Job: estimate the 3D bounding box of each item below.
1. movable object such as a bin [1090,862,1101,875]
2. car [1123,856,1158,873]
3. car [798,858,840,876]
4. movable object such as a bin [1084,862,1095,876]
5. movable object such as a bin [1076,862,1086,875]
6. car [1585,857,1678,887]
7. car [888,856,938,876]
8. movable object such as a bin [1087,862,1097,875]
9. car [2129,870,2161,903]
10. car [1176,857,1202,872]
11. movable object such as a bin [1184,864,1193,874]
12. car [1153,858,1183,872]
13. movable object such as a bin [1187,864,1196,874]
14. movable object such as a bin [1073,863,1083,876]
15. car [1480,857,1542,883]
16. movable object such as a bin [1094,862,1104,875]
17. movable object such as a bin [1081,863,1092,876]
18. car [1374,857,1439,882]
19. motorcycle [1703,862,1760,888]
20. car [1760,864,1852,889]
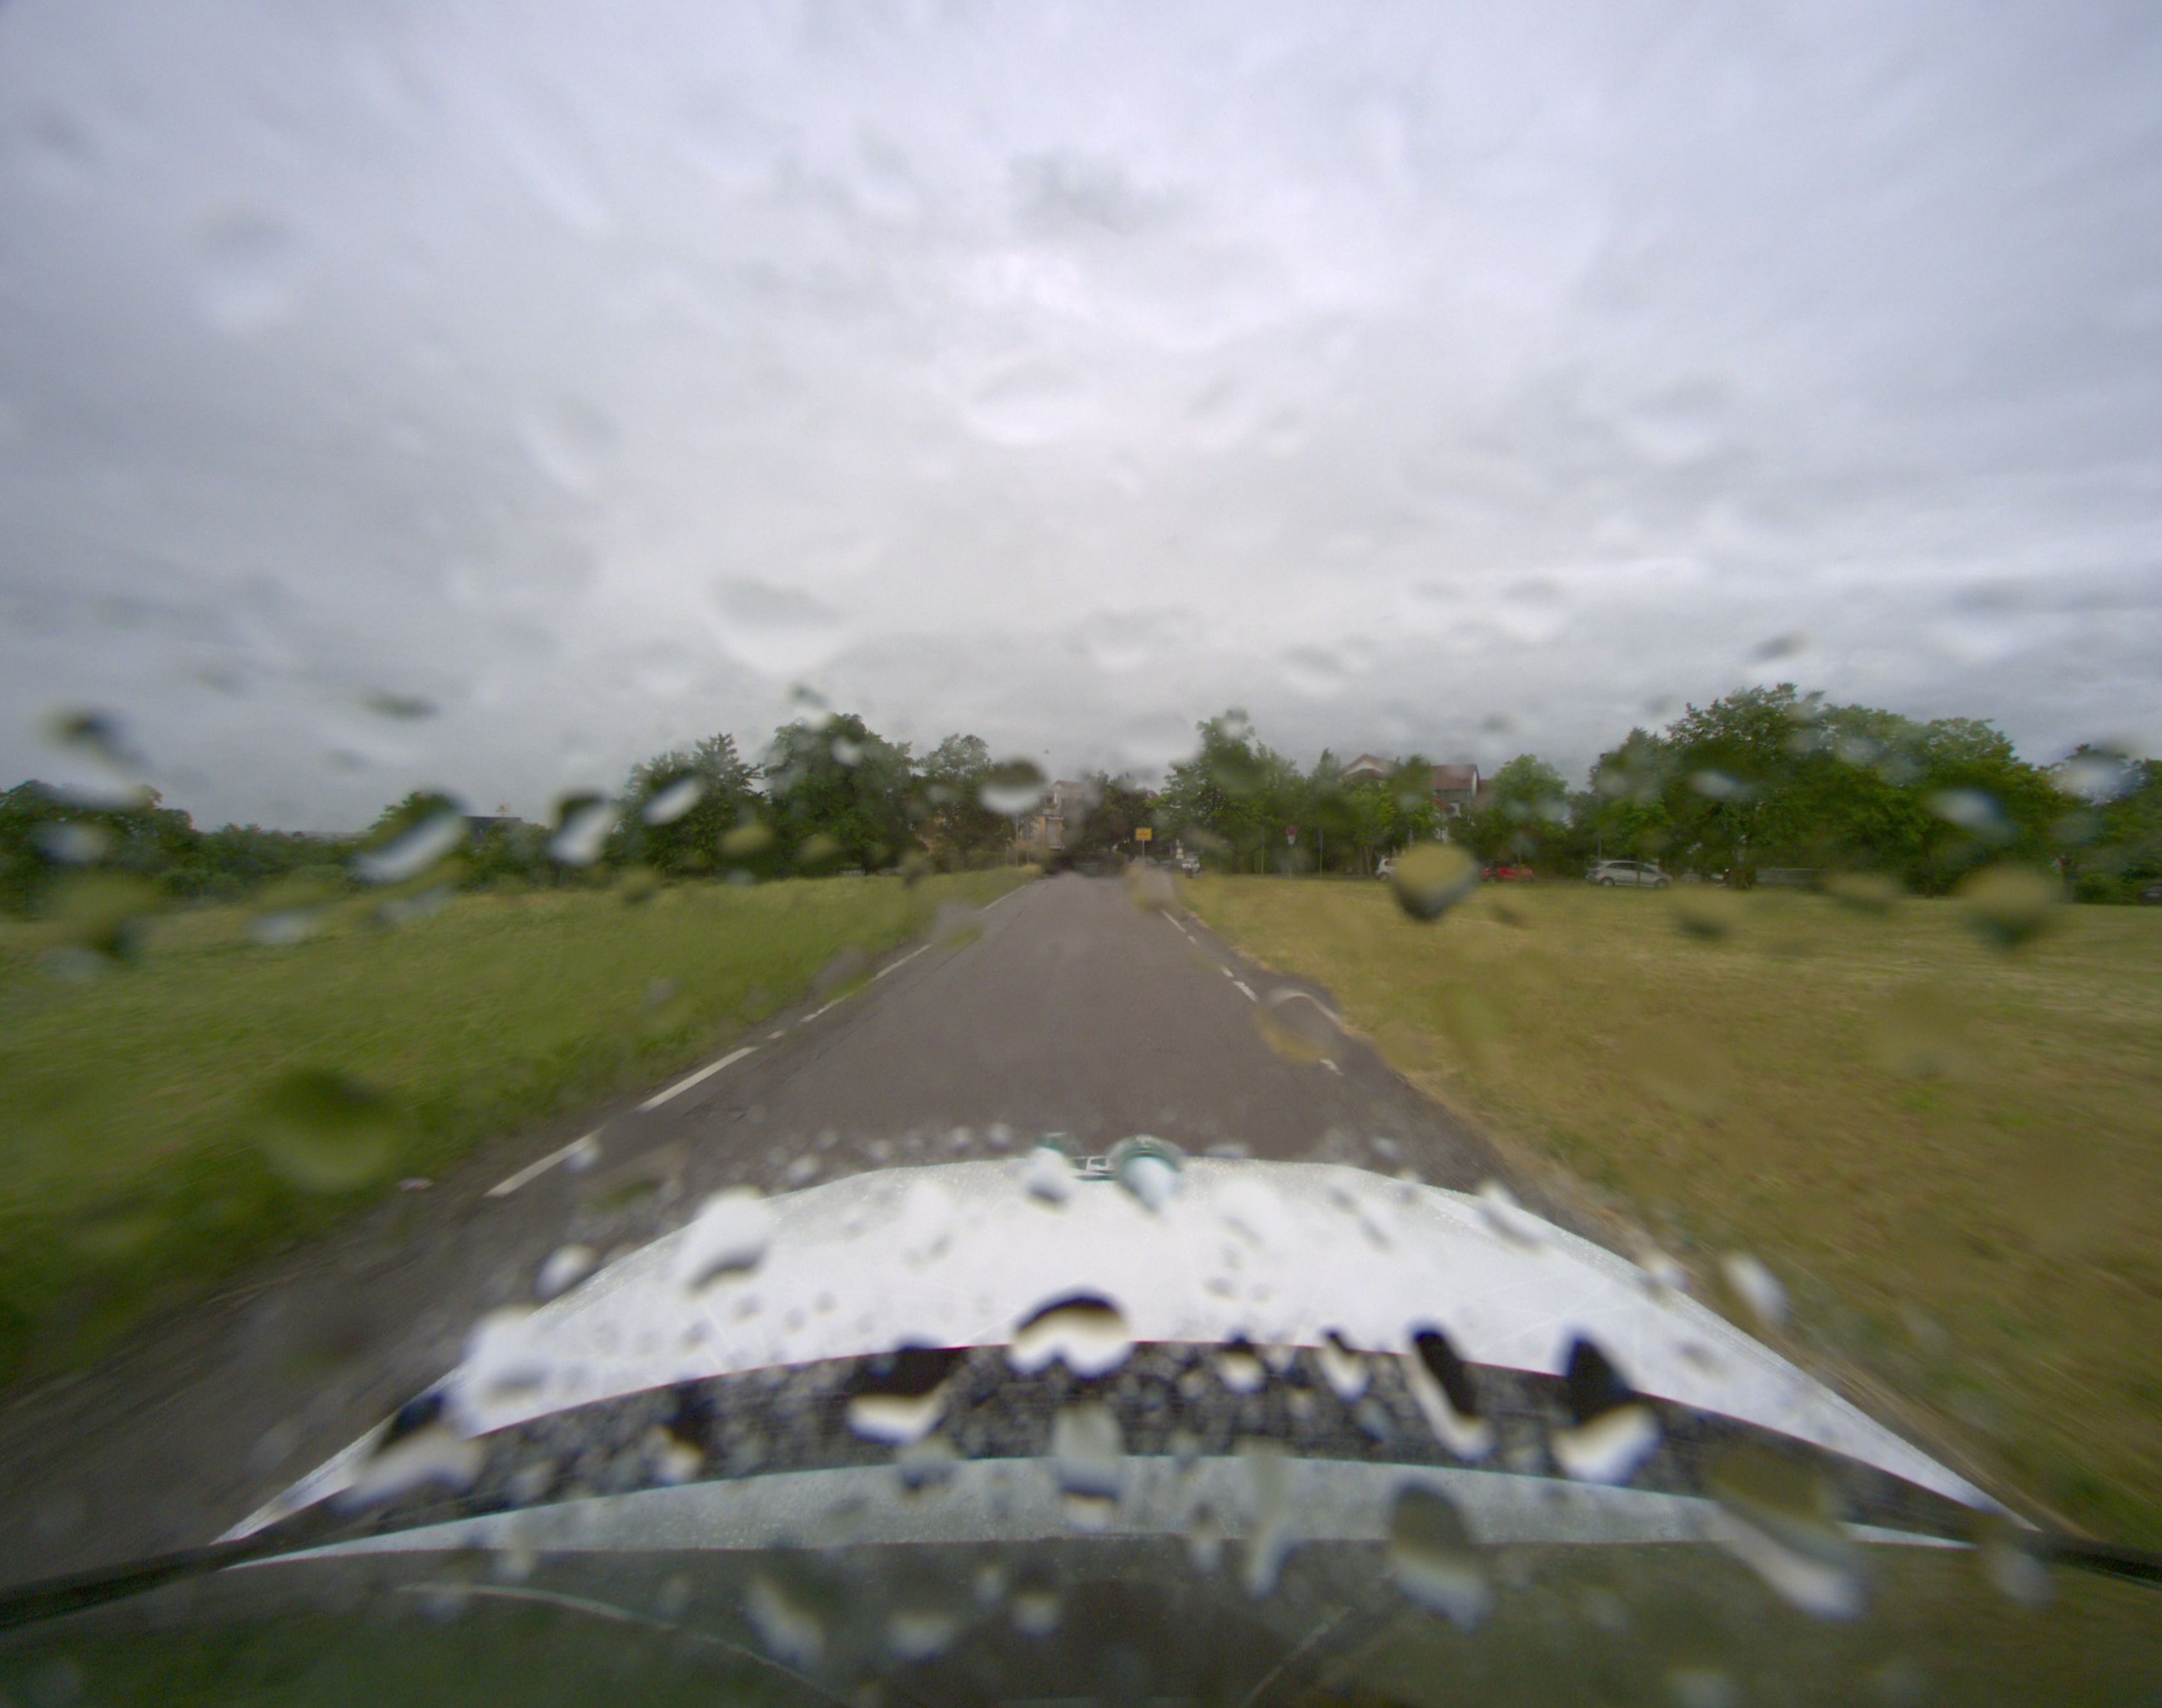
[{"bbox_3d":[1.220,1.235,68.664,0.688,1.055,0.608,0,0,21],"label":"movable object such as a bin"},{"bbox_3d":[5.727,0.969,78.218,1.759,1.518,4.162,2,0,29],"label":"car"},{"bbox_3d":[-23.949,1.201,74.466,3.678,1.503,1.621,-3,-3,29],"label":"car"},{"bbox_3d":[0.701,1.237,67.507,0.688,1.075,0.546,0,0,21],"label":"movable object such as a bin"},{"bbox_3d":[-0.016,1.236,67.698,0.688,1.072,0.601,0,0,21],"label":"movable object such as a bin"},{"bbox_3d":[31.063,0.974,46.042,3.949,1.552,1.858,1,0,13],"label":"car"},{"bbox_3d":[-13.289,0.970,64.482,3.649,1.552,1.702,-1,-1,31],"label":"car"},{"bbox_3d":[0.938,1.238,68.087,0.688,1.067,0.582,0,0,21],"label":"movable object such as a bin"},{"bbox_3d":[55.967,1.744,40.779,3.962,1.607,1.968,3,0,11],"label":"car"},{"bbox_3d":[11.640,1.154,87.680,1.496,1.476,3.294,2,0,32],"label":"car"},{"bbox_3d":[9.322,1.294,70.429,0.565,0.931,0.533,0,-1,34],"label":"movable object such as a bin"},{"bbox_3d":[8.903,1.114,83.268,1.620,1.409,3.627,2,0,31],"label":"car"},{"bbox_3d":[9.646,1.304,70.907,0.565,0.931,0.533,0,-1,34],"label":"movable object such as a bin"},{"bbox_3d":[-0.260,1.250,67.115,0.659,1.073,0.546,0,0,22],"label":"movable object such as a bin"},{"bbox_3d":[25.067,0.919,47.512,2.978,1.436,1.561,1,-1,18],"label":"car"},{"bbox_3d":[1.506,1.231,69.313,0.688,1.055,0.608,0,0,21],"label":"movable object such as a bin"},{"bbox_3d":[0.463,1.244,66.900,0.688,1.075,0.605,0,0,21],"label":"movable object such as a bin"},{"bbox_3d":[19.574,0.928,49.097,3.514,1.479,1.688,0,-1,18],"label":"car"},{"bbox_3d":[35.502,1.147,44.484,2.242,1.302,0.974,1,0,12],"label":"motorcycle"},{"bbox_3d":[39.054,1.214,43.954,3.295,1.281,1.739,0,0,12],"label":"car"}]
